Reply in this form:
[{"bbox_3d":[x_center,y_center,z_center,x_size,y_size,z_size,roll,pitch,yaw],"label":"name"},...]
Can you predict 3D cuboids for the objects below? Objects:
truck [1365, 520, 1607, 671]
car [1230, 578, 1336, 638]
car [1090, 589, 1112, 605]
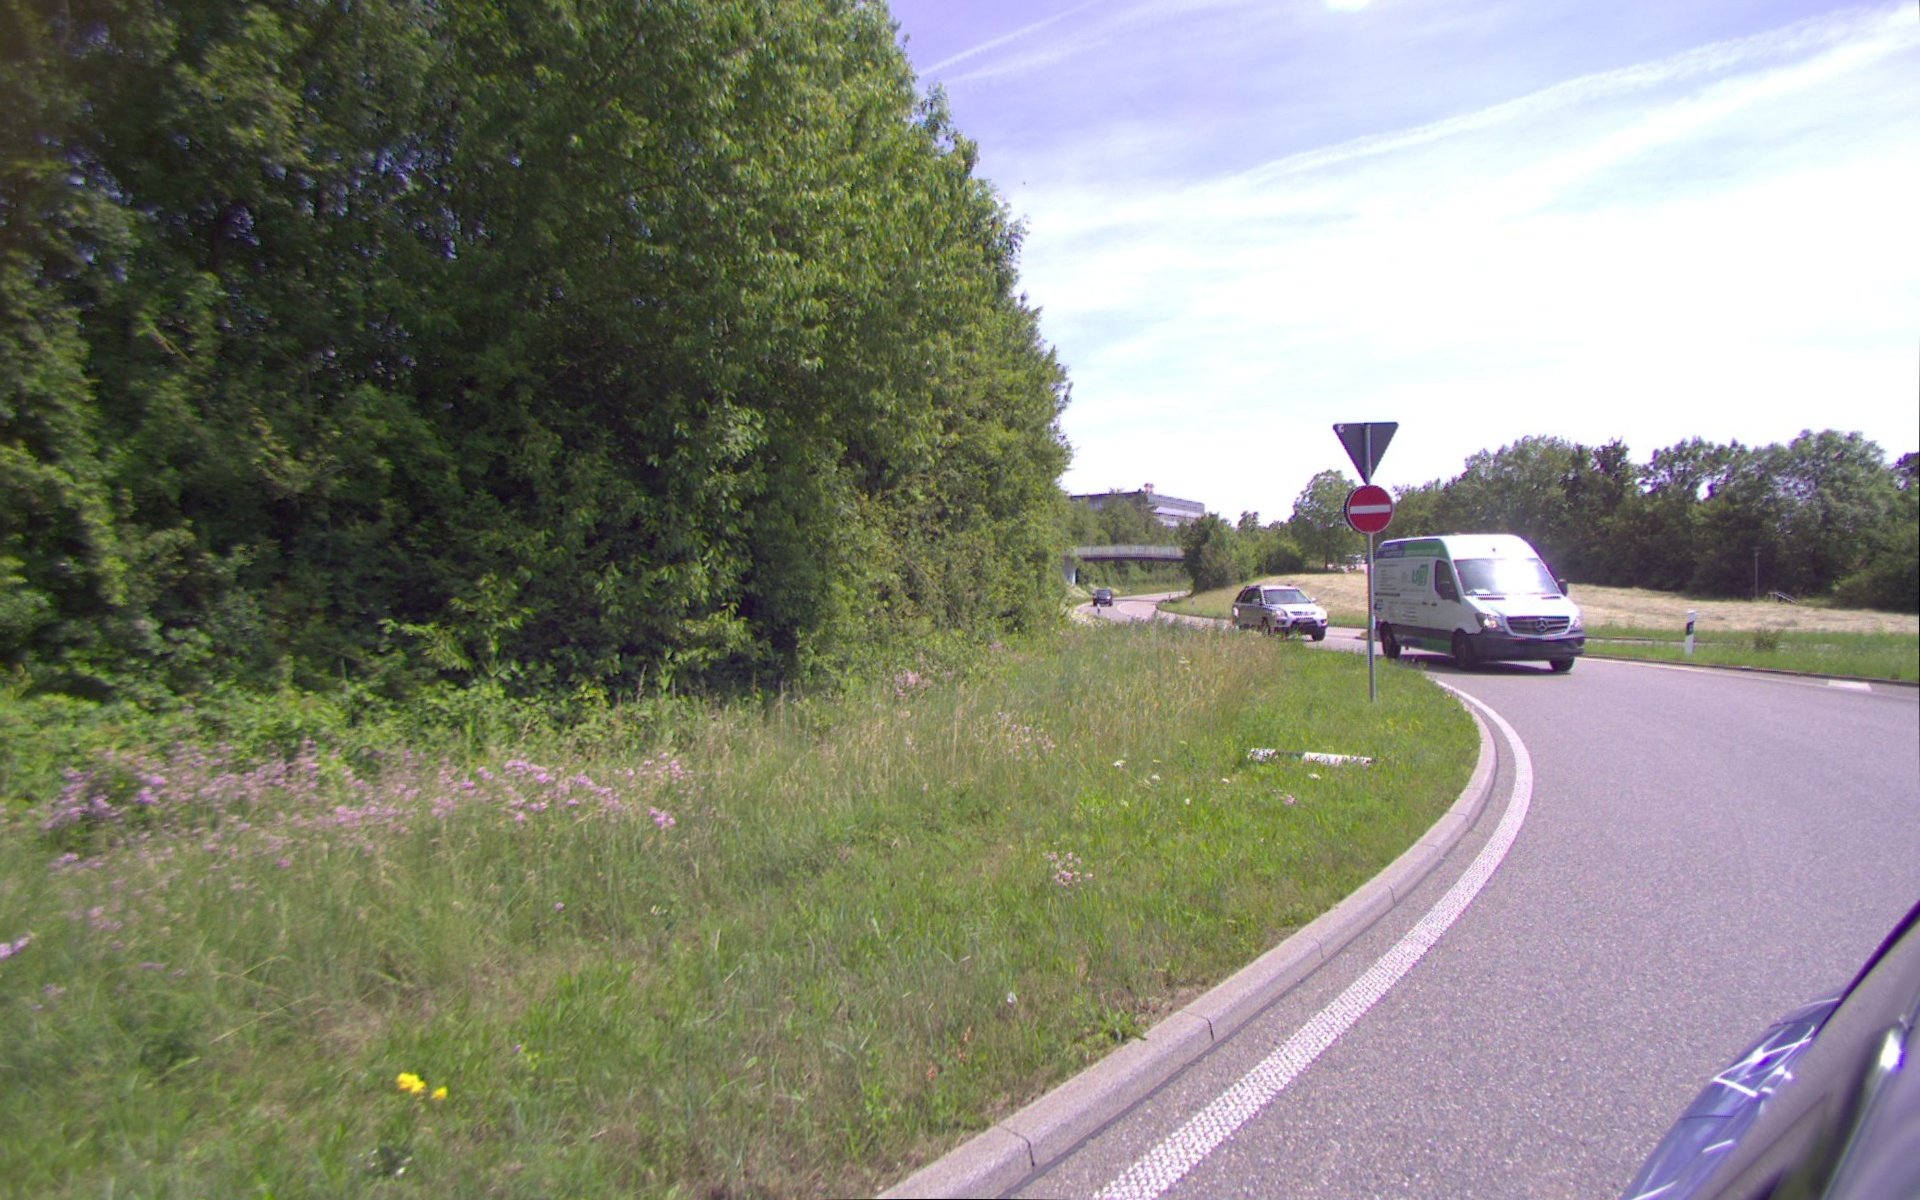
[{"bbox_3d":[10.311,-0.121,20.510,1.963,2.618,5.885,-1,1,2],"label":"truck"},{"bbox_3d":[10.026,0.219,31.731,1.814,1.730,4.091,-1,0,-3],"label":"car"},{"bbox_3d":[13.758,-0.306,98.924,1.926,1.440,3.932,1,0,5],"label":"car"}]
